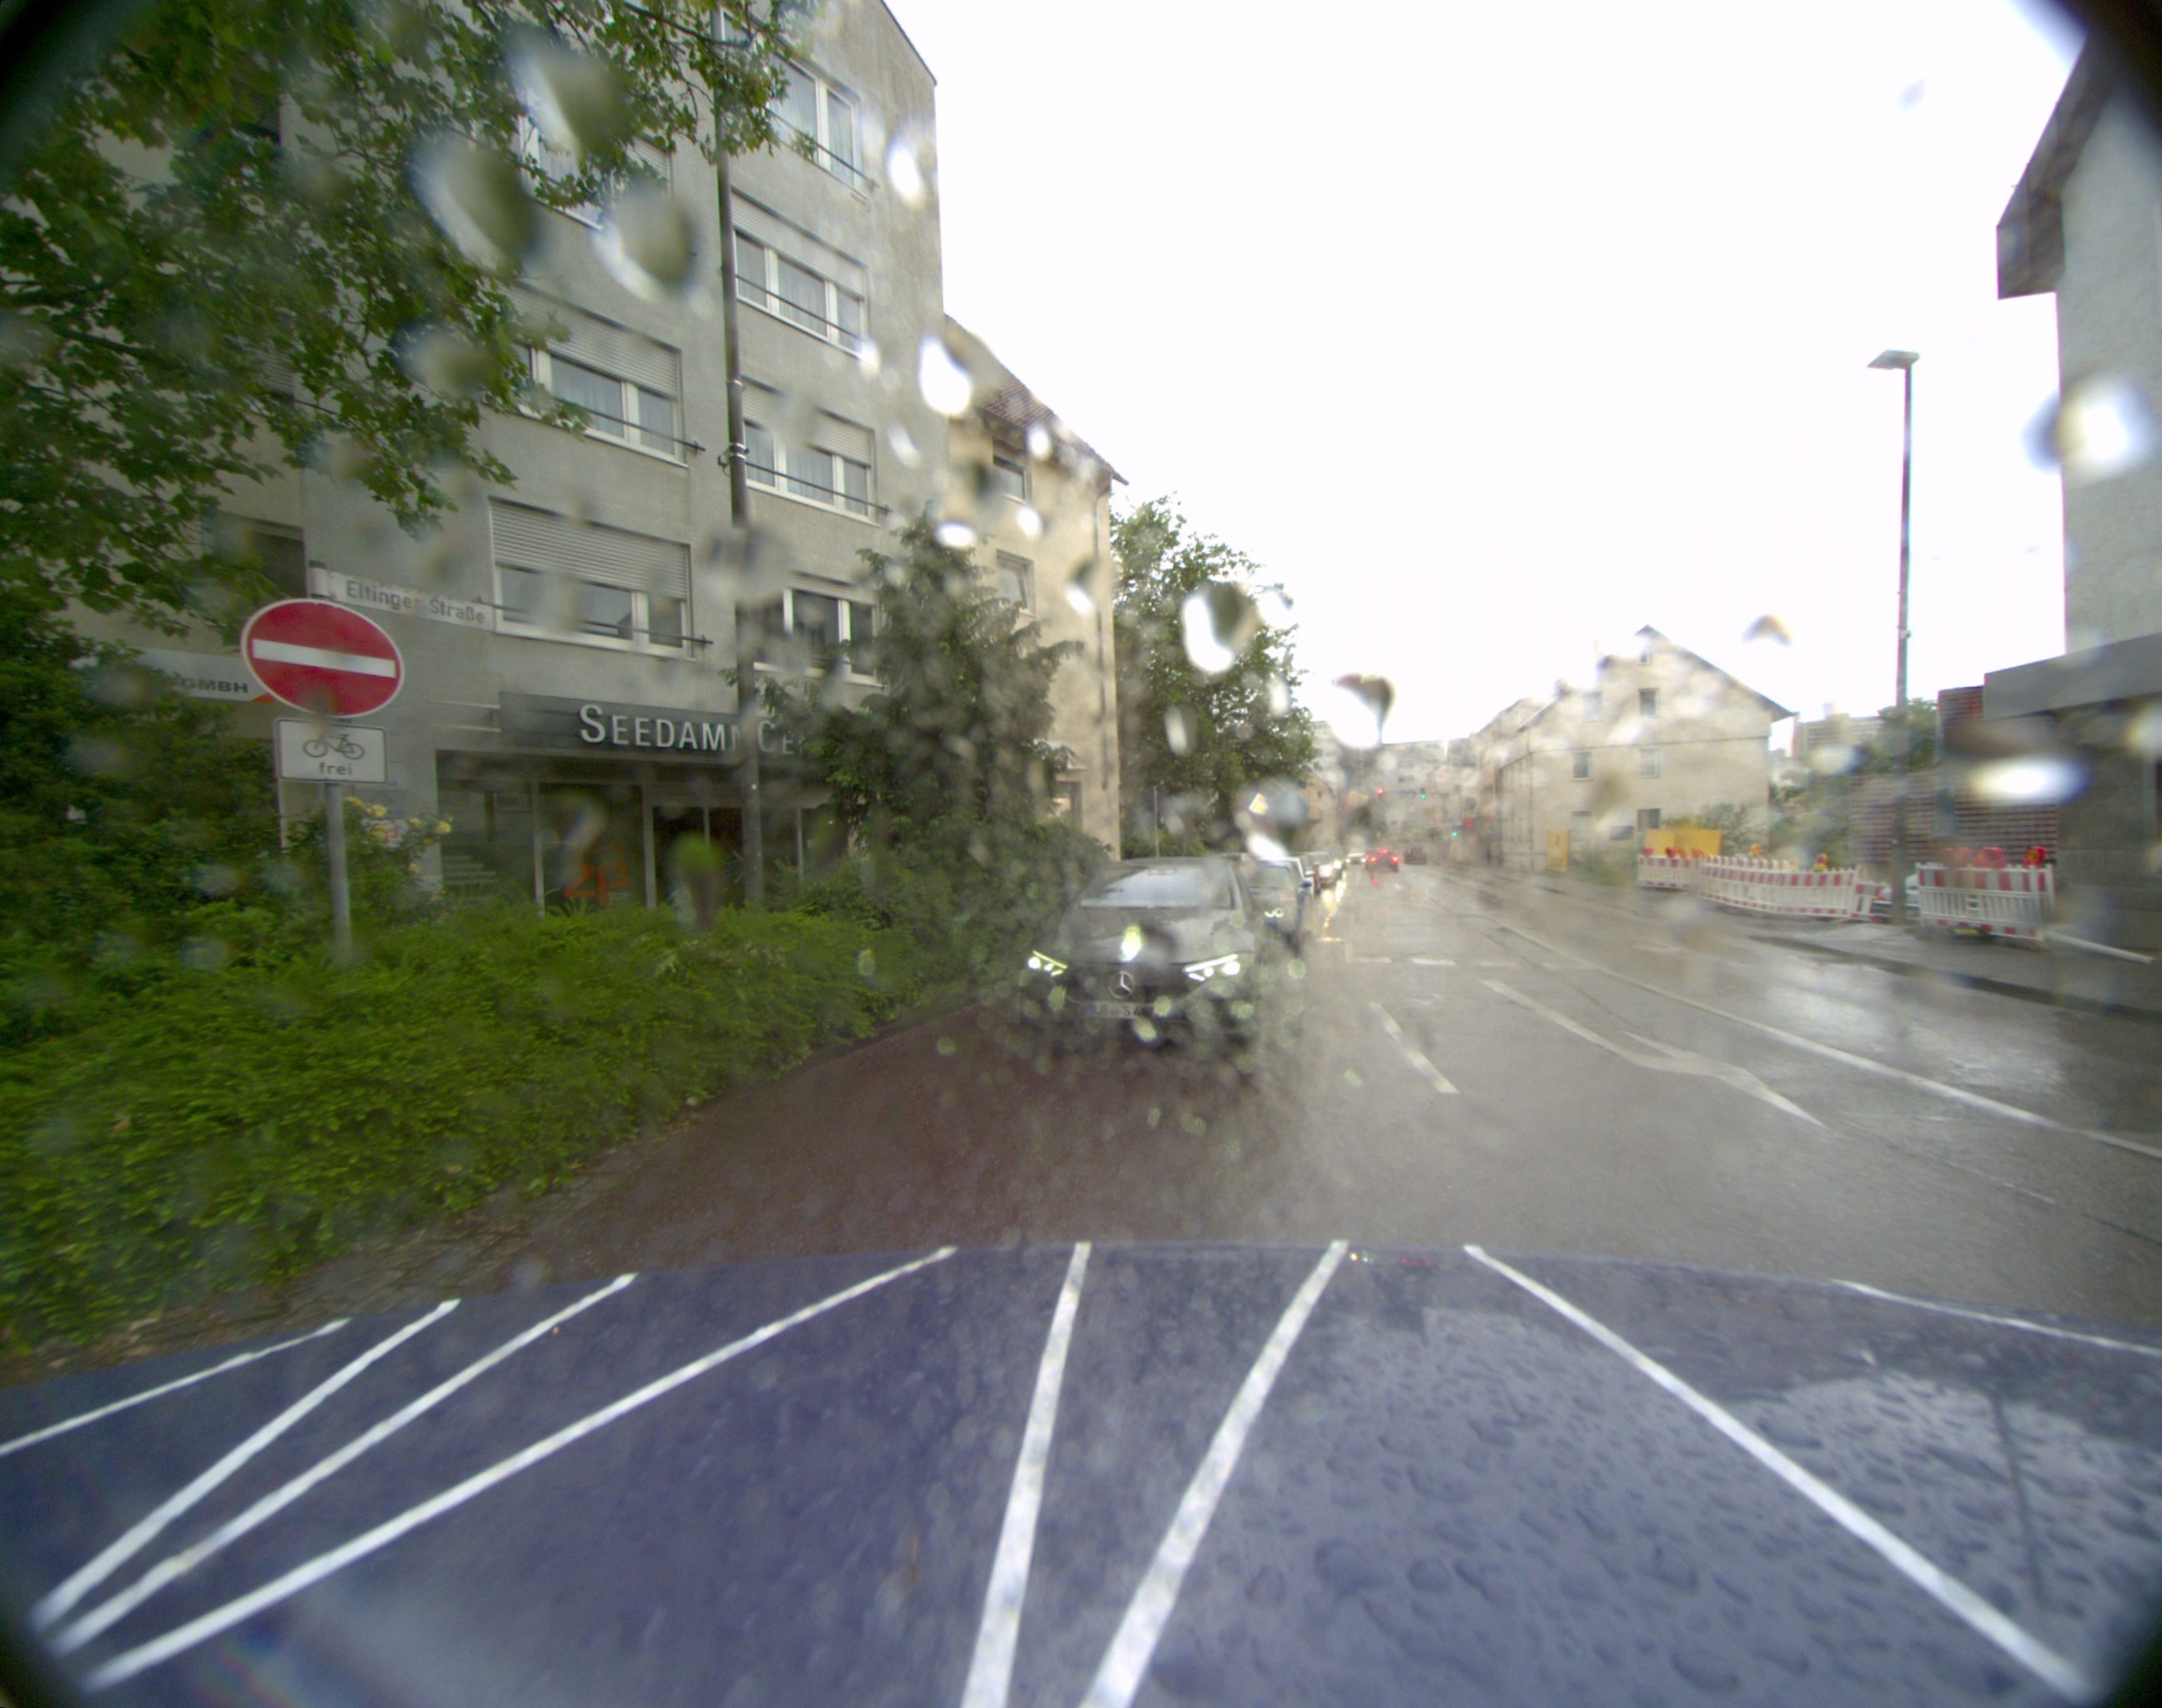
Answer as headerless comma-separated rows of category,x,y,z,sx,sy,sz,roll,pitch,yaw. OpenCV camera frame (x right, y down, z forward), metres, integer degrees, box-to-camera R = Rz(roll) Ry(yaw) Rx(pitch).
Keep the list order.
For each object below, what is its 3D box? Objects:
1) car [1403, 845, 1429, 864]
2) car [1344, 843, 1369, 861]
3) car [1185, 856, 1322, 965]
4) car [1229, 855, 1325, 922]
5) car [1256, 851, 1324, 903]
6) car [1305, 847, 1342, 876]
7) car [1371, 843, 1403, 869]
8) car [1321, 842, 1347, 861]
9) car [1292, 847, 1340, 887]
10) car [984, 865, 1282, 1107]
car,29.408,-0.014,66.783,1.810,1.556,4.005,-1,1,20
car,26.683,-0.176,73.672,1.996,1.542,4.007,0,-3,16
car,3.220,0.863,13.454,1.771,1.524,4.384,-2,0,20
car,5.152,0.824,19.592,1.996,1.444,4.005,-3,0,19
car,7.197,0.729,25.913,1.810,1.556,4.006,-3,0,21
car,14.010,0.400,43.747,1.829,1.543,4.006,-3,-1,19
car,20.255,0.115,50.456,1.810,1.556,4.005,-3,0,20
car,20.144,-0.210,60.533,1.851,1.469,4.005,-2,0,17
car,10.653,0.554,34.225,1.842,1.612,4.005,-2,0,20
car,0.780,0.931,7.284,1.997,1.484,4.317,-2,0,12
